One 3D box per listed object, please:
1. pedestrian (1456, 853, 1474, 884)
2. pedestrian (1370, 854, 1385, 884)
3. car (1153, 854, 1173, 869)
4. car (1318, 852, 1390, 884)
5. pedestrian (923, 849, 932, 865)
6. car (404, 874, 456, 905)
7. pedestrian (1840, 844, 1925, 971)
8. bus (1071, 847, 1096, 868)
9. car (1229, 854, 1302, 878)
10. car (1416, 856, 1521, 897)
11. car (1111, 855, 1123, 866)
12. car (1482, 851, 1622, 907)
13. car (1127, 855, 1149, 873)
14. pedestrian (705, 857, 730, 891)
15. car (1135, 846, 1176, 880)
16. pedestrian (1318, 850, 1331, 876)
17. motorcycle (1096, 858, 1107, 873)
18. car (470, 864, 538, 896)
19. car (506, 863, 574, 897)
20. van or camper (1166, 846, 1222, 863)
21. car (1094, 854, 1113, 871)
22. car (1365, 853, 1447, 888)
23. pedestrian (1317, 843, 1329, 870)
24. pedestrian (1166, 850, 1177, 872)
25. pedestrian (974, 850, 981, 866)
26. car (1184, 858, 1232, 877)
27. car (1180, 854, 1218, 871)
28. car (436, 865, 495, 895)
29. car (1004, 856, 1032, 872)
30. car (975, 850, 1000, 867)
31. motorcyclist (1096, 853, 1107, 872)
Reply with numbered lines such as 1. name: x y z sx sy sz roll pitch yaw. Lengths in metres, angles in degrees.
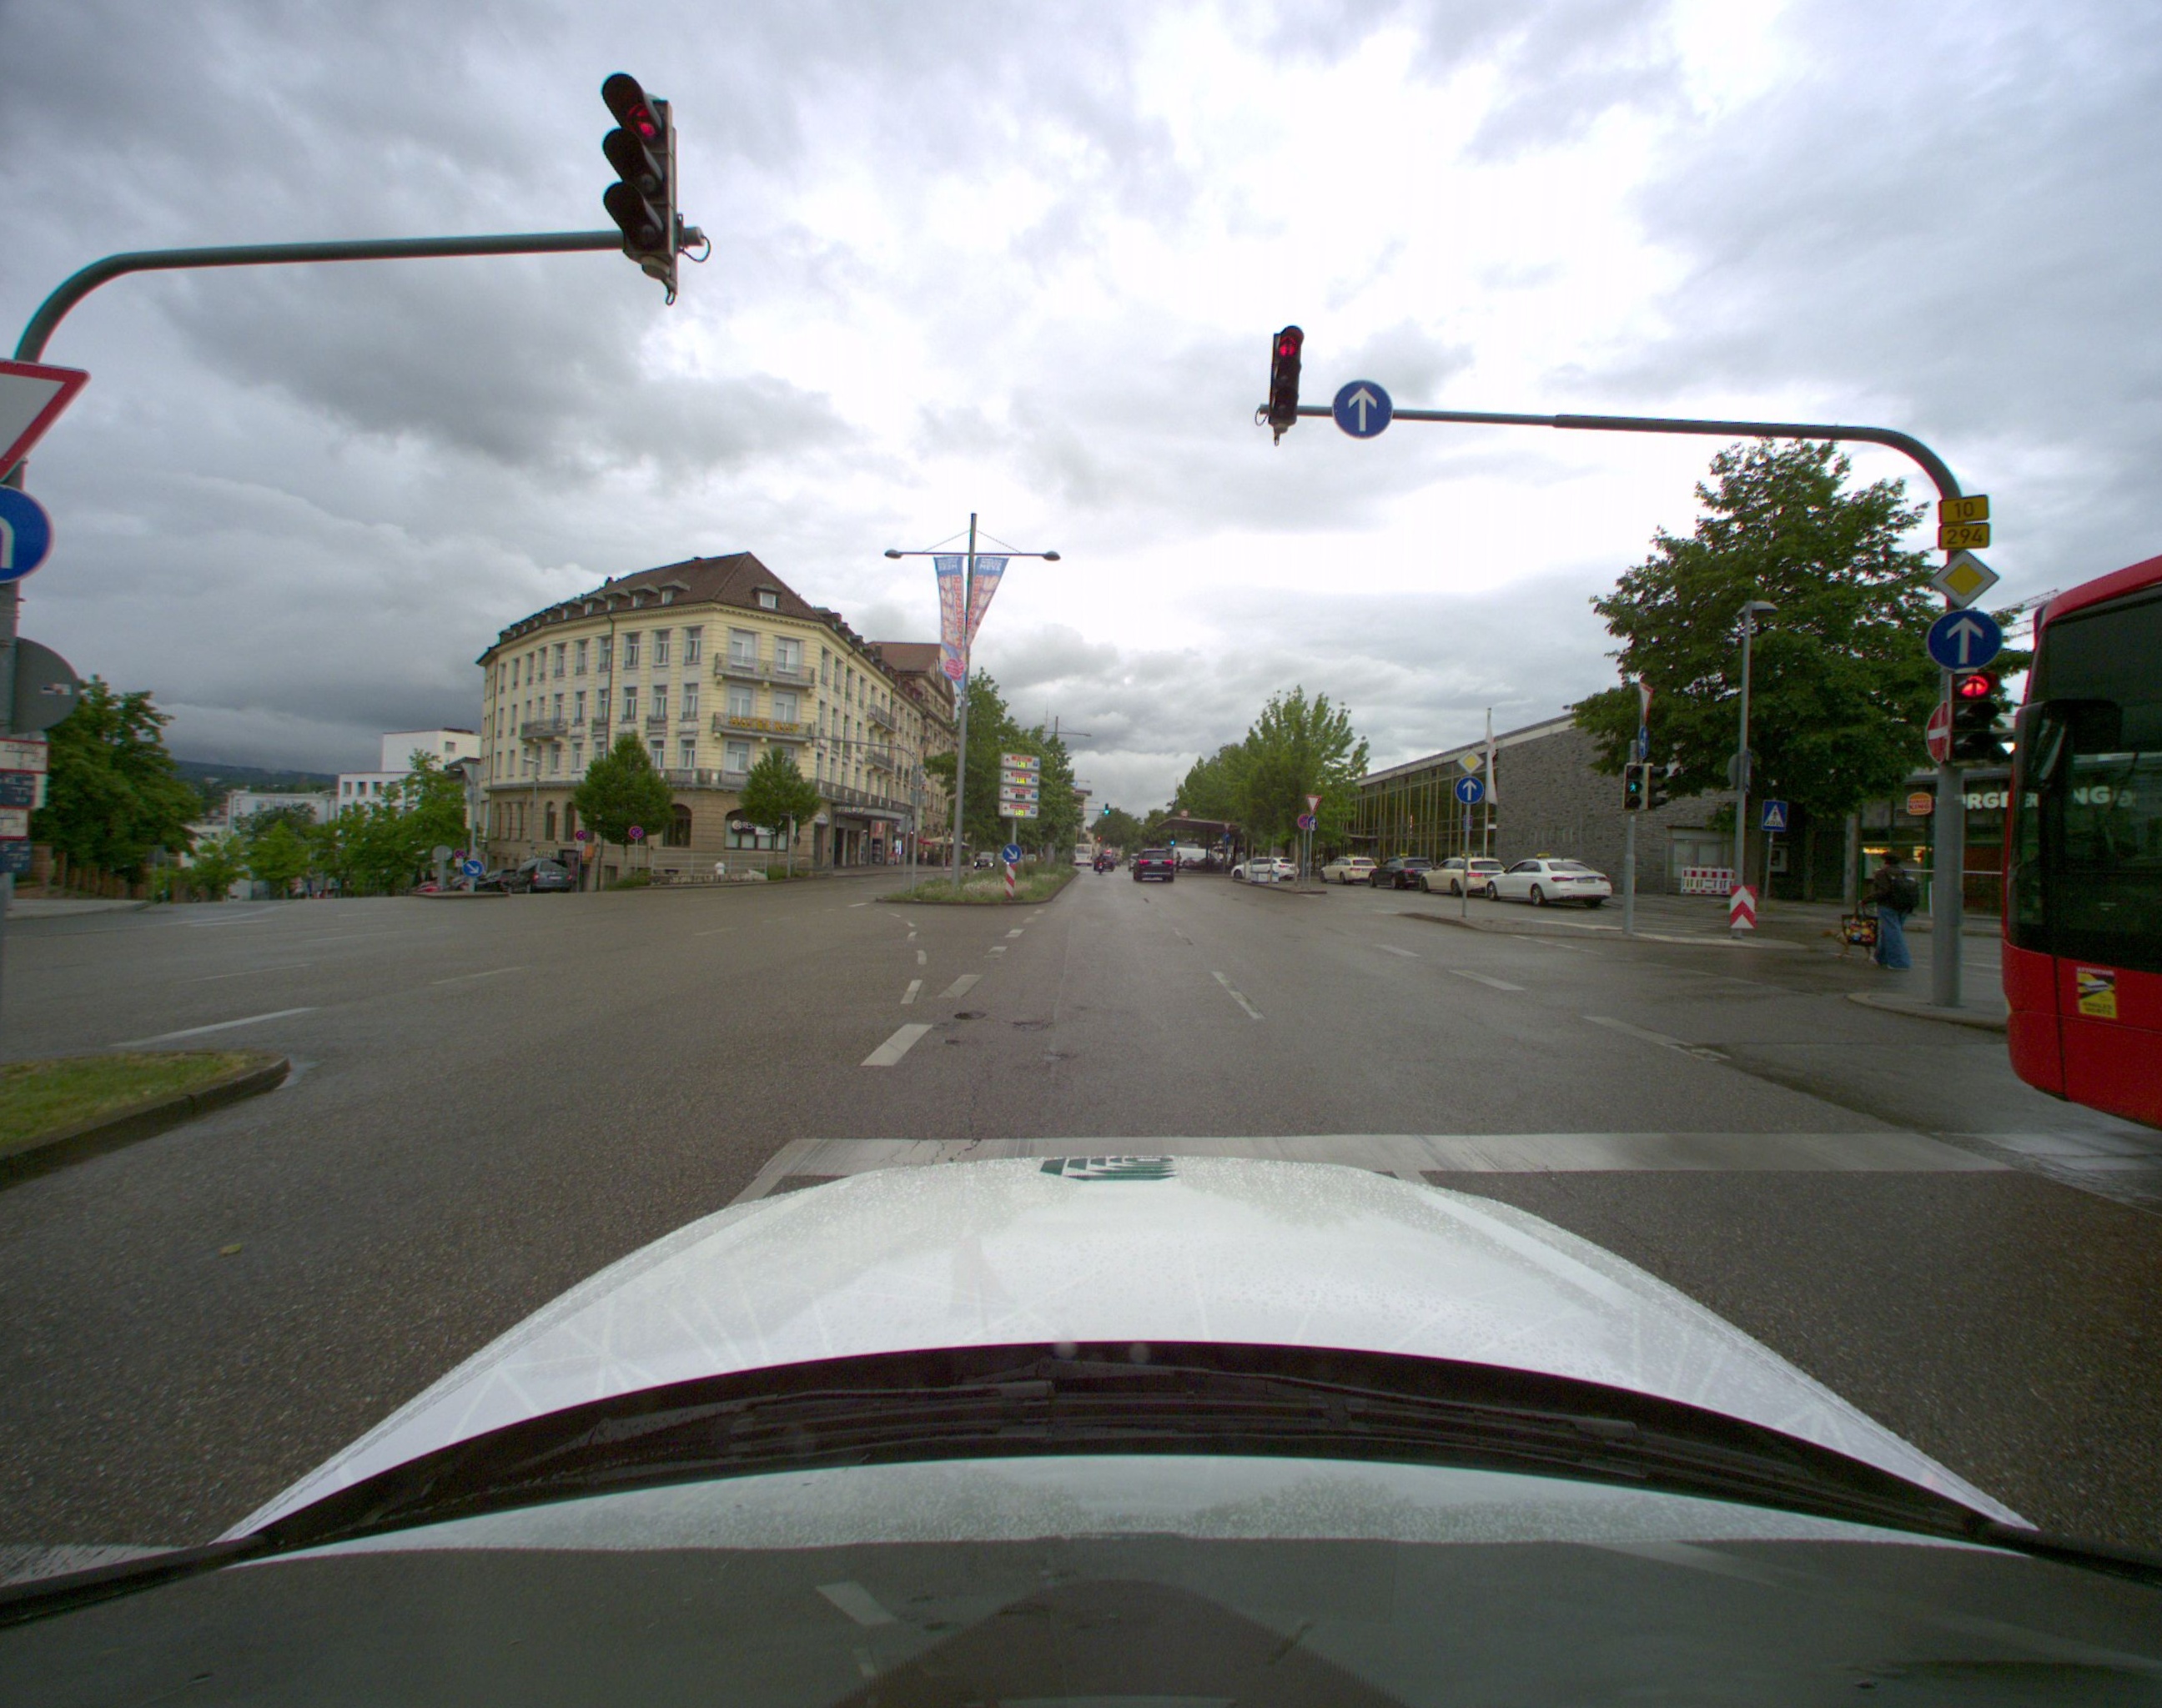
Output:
1. pedestrian: 20.646 0.761 43.790 0.563 1.646 0.715 0 0 -3
2. pedestrian: 17.143 0.844 47.132 0.563 1.710 0.715 0 0 -3
3. car: 8.555 0.762 85.367 1.809 1.530 4.001 0 0 2
4. car: 14.672 0.719 44.085 1.990 1.600 4.814 0 0 -5
5. pedestrian: -14.159 0.283 75.125 0.666 1.510 0.513 0 -1 -36
6. car: -41.197 2.206 51.489 3.575 1.812 1.788 0 0 38
7. pedestrian: 11.064 0.700 11.275 0.800 1.674 0.717 0 0 43
8. bus: 0.337 0.527 127.394 3.749 3.209 15.521 0 0 0
9. car: 11.490 0.721 50.946 1.788 1.385 4.318 0 0 -39
10. car: 14.775 0.793 31.365 1.840 1.452 4.666 0 0 0
11. car: 5.121 0.912 116.991 1.702 1.474 4.001 0 0 2
12. car: 14.634 0.727 25.646 1.768 1.589 4.615 0 0 0
13. car: 5.244 0.880 75.170 1.844 1.567 4.001 0 0 2
14. pedestrian: -20.242 1.118 45.356 0.860 1.878 1.023 0 0 1
15. car: 4.070 0.483 45.211 1.986 1.806 4.691 0 0 2
16. pedestrian: 19.001 0.730 63.512 0.767 2.014 0.828 0 0 0
17. motorcycle: 1.485 0.816 58.763 0.763 1.077 2.176 0 0 2
18. car: -31.979 1.413 45.106 3.948 1.640 2.013 -1 -1 37
19. car: -27.111 1.270 40.765 3.949 1.568 1.812 0 0 41
20. van or camper: 14.283 0.090 102.711 6.787 2.014 2.366 0 -1 -25
21. car: 2.039 0.720 73.152 1.702 1.448 4.001 0 0 2
22. car: 14.874 0.717 37.591 1.907 1.524 4.741 0 0 0
23. pedestrian: 21.781 0.195 73.244 0.839 2.411 0.863 0 0 3
24. pedestrian: 7.394 0.602 66.728 0.717 1.791 0.663 0 0 -10
25. pedestrian: -11.022 0.422 86.928 0.672 1.701 0.634 0 0 1
26. car: 12.817 1.392 82.129 4.348 1.857 1.988 0 0 -18
27. car: 14.022 0.982 96.489 3.998 2.014 1.988 0 0 -18
28. car: -36.321 1.489 48.028 3.864 1.640 1.805 0 0 37
29. car: -5.697 0.859 73.871 1.716 1.381 4.867 -1 0 5
30. car: -8.473 0.426 74.119 1.765 1.530 4.080 0 0 2
31. motorcyclist: 1.483 0.610 58.804 0.761 1.331 0.867 0 0 2
